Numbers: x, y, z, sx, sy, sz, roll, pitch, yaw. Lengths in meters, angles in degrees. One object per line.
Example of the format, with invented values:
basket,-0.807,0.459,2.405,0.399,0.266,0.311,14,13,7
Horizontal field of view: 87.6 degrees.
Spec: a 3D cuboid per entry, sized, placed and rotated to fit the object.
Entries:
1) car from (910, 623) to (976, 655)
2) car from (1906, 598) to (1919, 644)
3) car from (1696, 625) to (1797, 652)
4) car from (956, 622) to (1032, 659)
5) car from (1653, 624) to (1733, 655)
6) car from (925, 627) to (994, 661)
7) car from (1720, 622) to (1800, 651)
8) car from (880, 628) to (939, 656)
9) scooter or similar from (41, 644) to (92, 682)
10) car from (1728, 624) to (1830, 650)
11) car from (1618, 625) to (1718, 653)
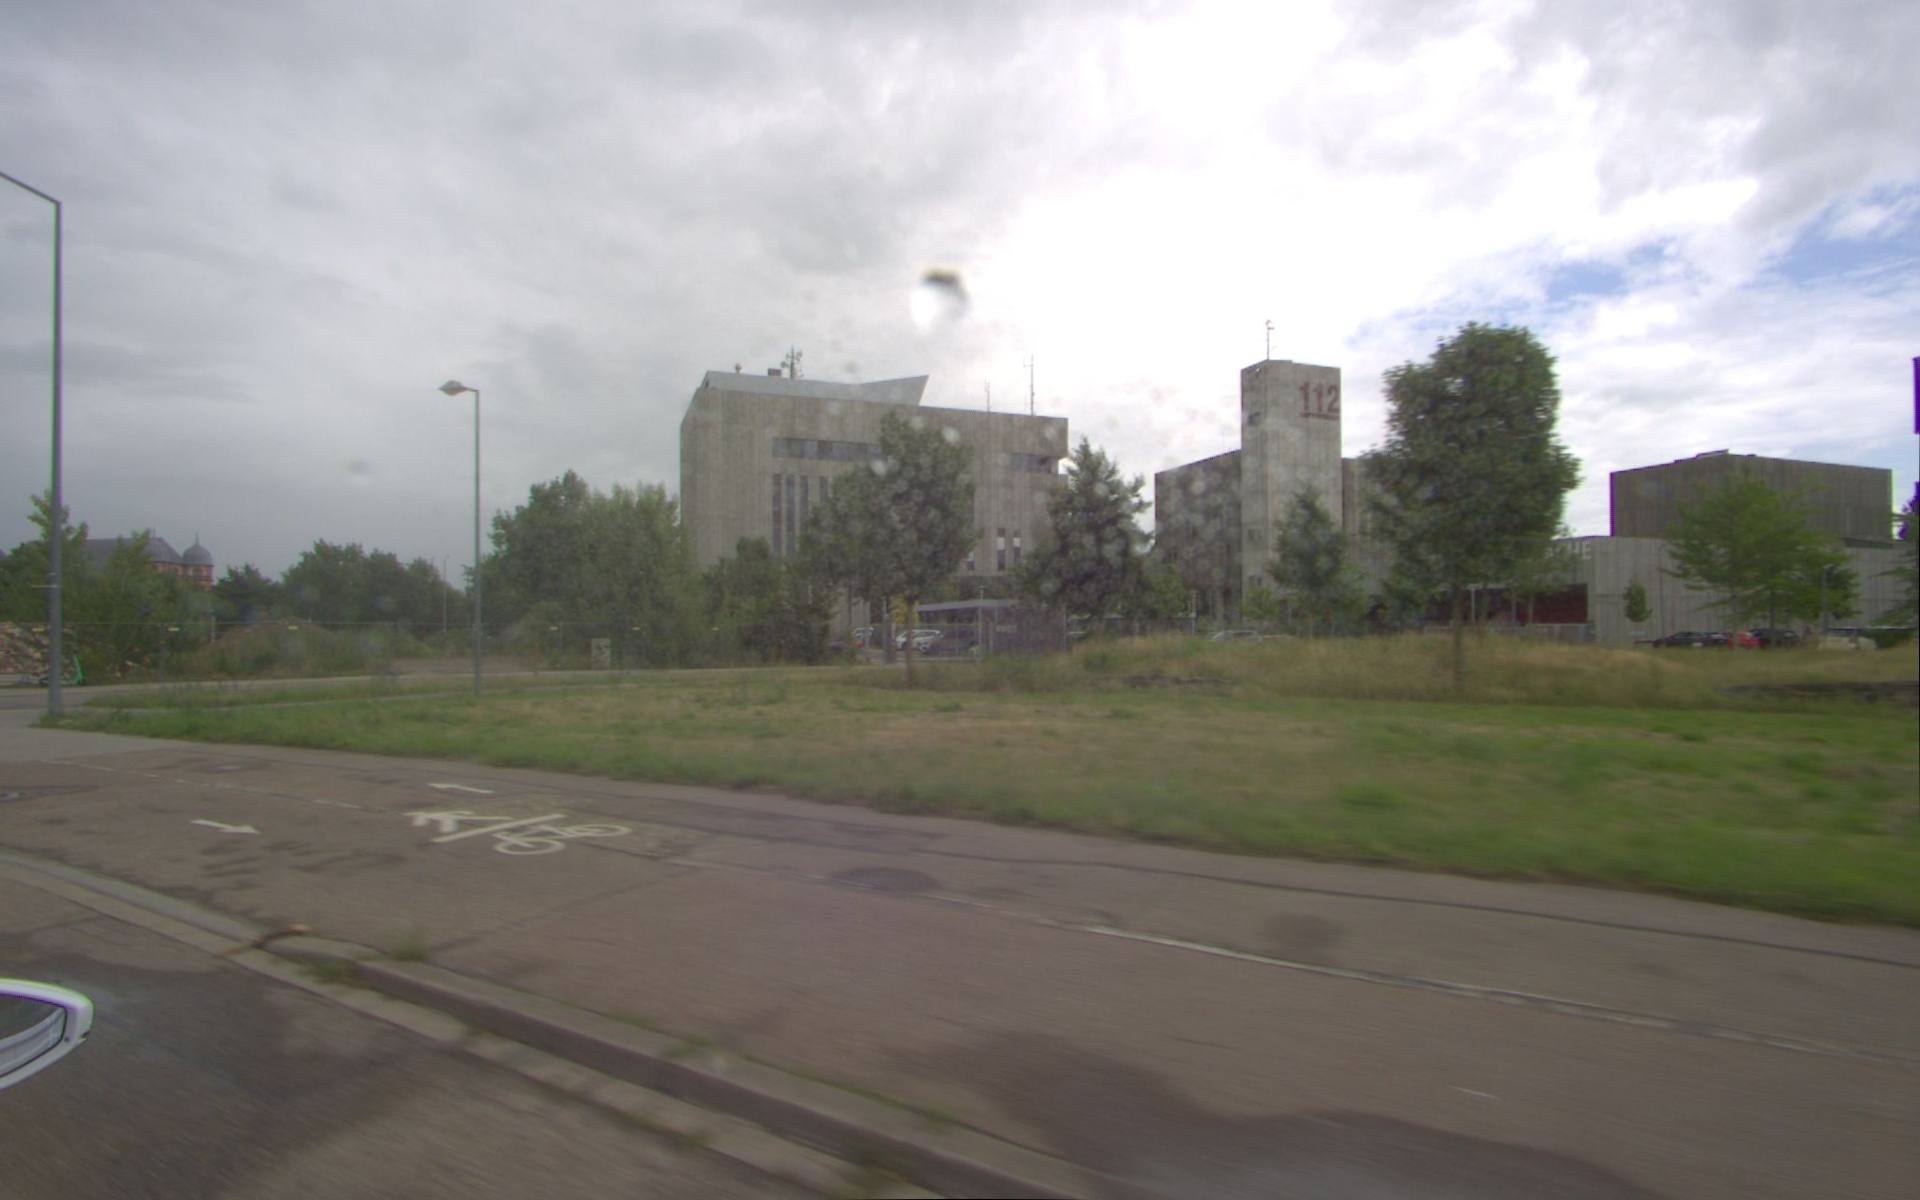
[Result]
car,-1.147,2.587,66.552,3.933,2.039,1.995,0,-1,-21
car,44.956,0.931,45.123,3.936,2.039,1.994,0,-1,-24
car,40.833,1.982,52.109,1.535,1.349,3.995,0,-2,-16
car,1.943,2.293,57.470,3.933,2.039,1.995,0,-1,-21
car,50.411,2.719,68.904,1.969,2.039,3.986,0,-2,-25
car,-0.029,2.801,64.184,3.933,2.039,1.995,0,-1,-21
car,56.850,2.594,71.231,1.969,2.039,3.986,0,-2,-25
car,-3.734,3.079,73.957,3.998,2.039,1.995,0,-1,-21
scooter or similar,-28.702,2.014,32.181,1.160,1.201,0.442,1,-2,-38
car,43.149,1.943,52.841,1.535,1.349,3.995,0,-2,-16
car,35.293,1.927,50.055,1.535,1.349,3.995,0,-2,-16
